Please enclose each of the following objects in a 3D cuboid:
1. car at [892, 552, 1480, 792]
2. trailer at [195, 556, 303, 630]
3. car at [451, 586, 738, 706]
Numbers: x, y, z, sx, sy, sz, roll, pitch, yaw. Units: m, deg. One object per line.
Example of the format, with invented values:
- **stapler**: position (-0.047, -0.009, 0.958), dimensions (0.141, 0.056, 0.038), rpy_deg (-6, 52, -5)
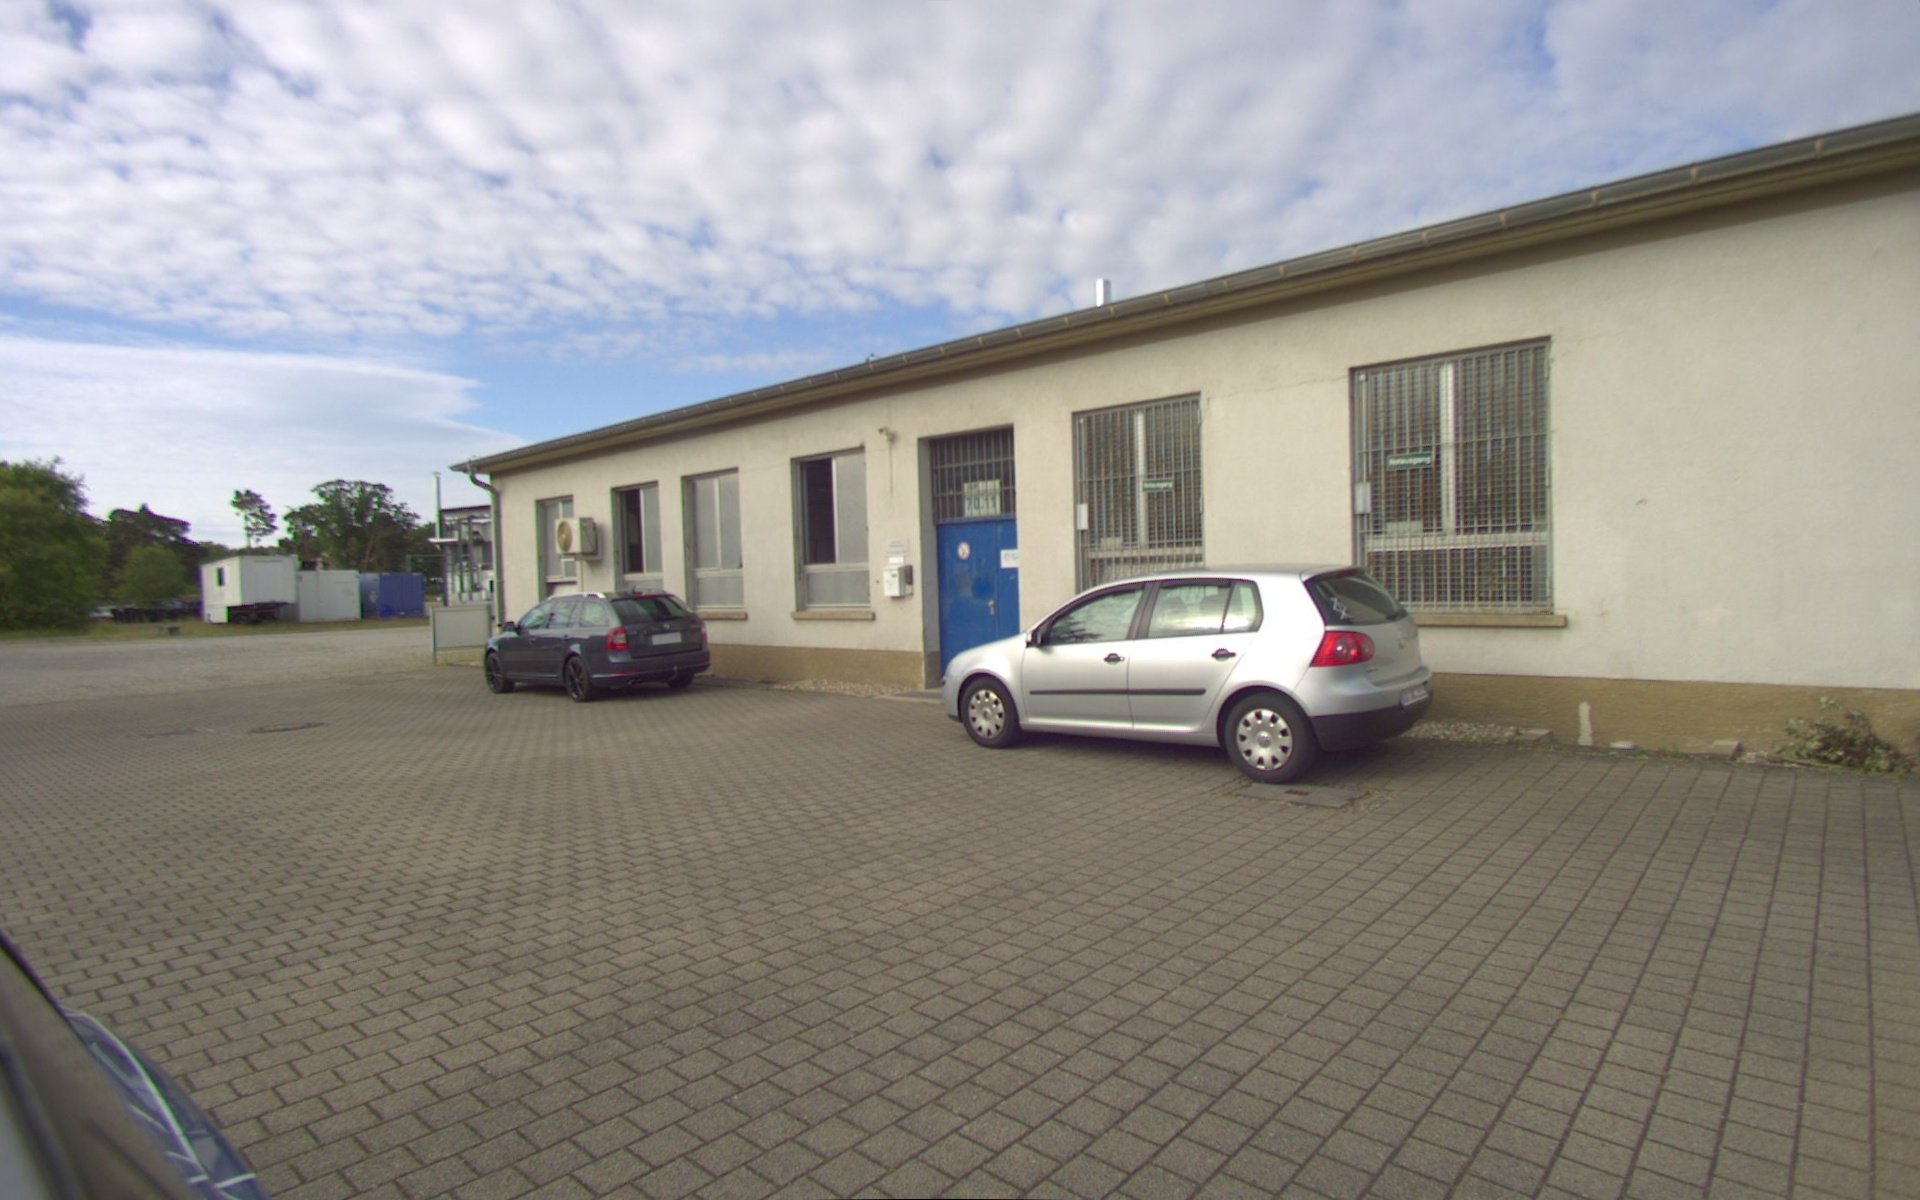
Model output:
- **car**: position (1.676, 0.448, 8.416), dimensions (4.366, 1.449, 1.905), rpy_deg (-1, 2, 41)
- **trailer**: position (-39.091, -0.308, 55.450), dimensions (10.781, 3.689, 2.837), rpy_deg (-1, 1, 44)
- **car**: position (-5.556, 0.607, 15.058), dimensions (4.808, 1.472, 1.905), rpy_deg (-1, 1, 41)
